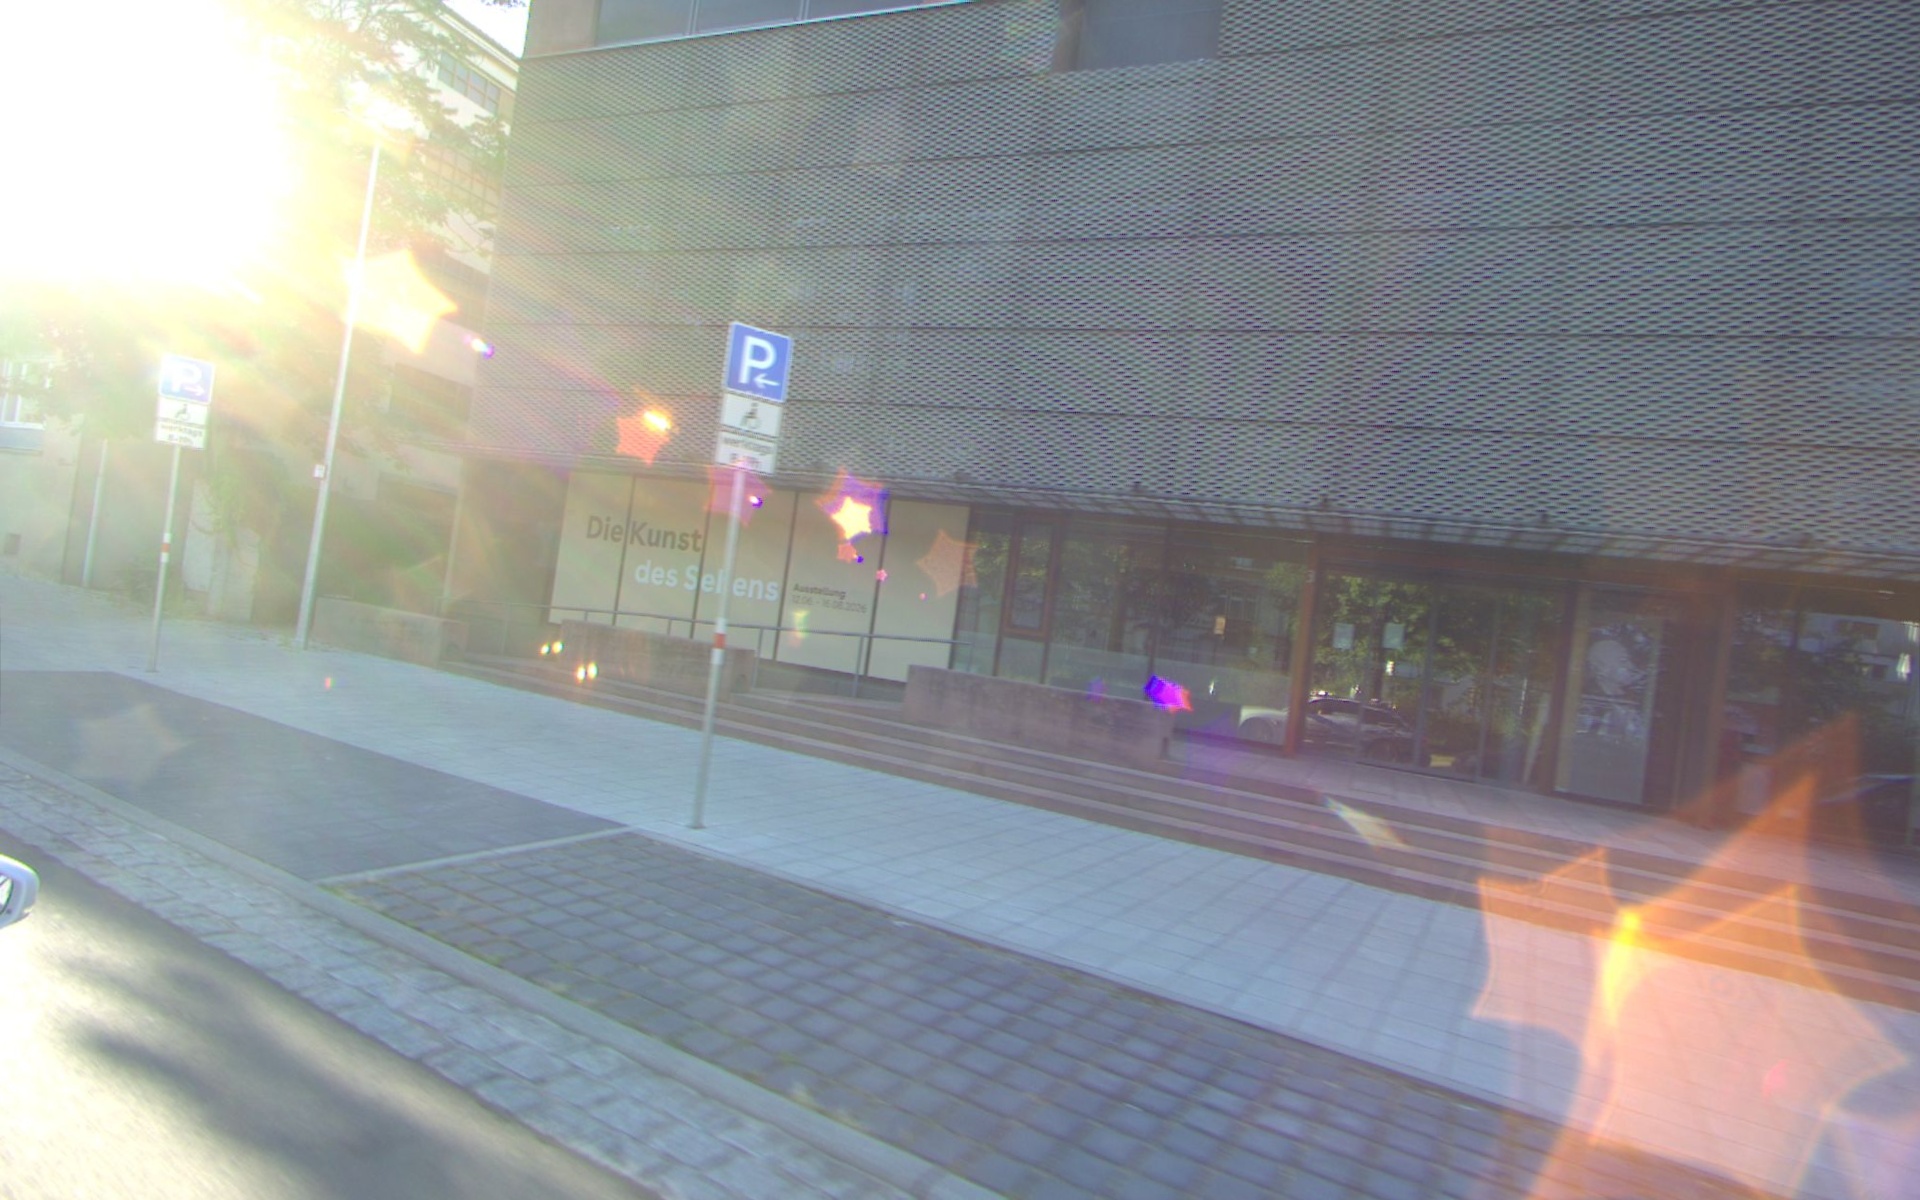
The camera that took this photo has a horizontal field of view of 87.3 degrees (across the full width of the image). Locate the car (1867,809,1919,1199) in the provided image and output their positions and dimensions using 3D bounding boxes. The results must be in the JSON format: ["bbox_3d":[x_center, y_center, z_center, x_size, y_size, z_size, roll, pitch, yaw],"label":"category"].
[{"bbox_3d":[4.270,1.435,1.580,3.842,1.438,1.727,7,-1,32],"label":"car"}]
